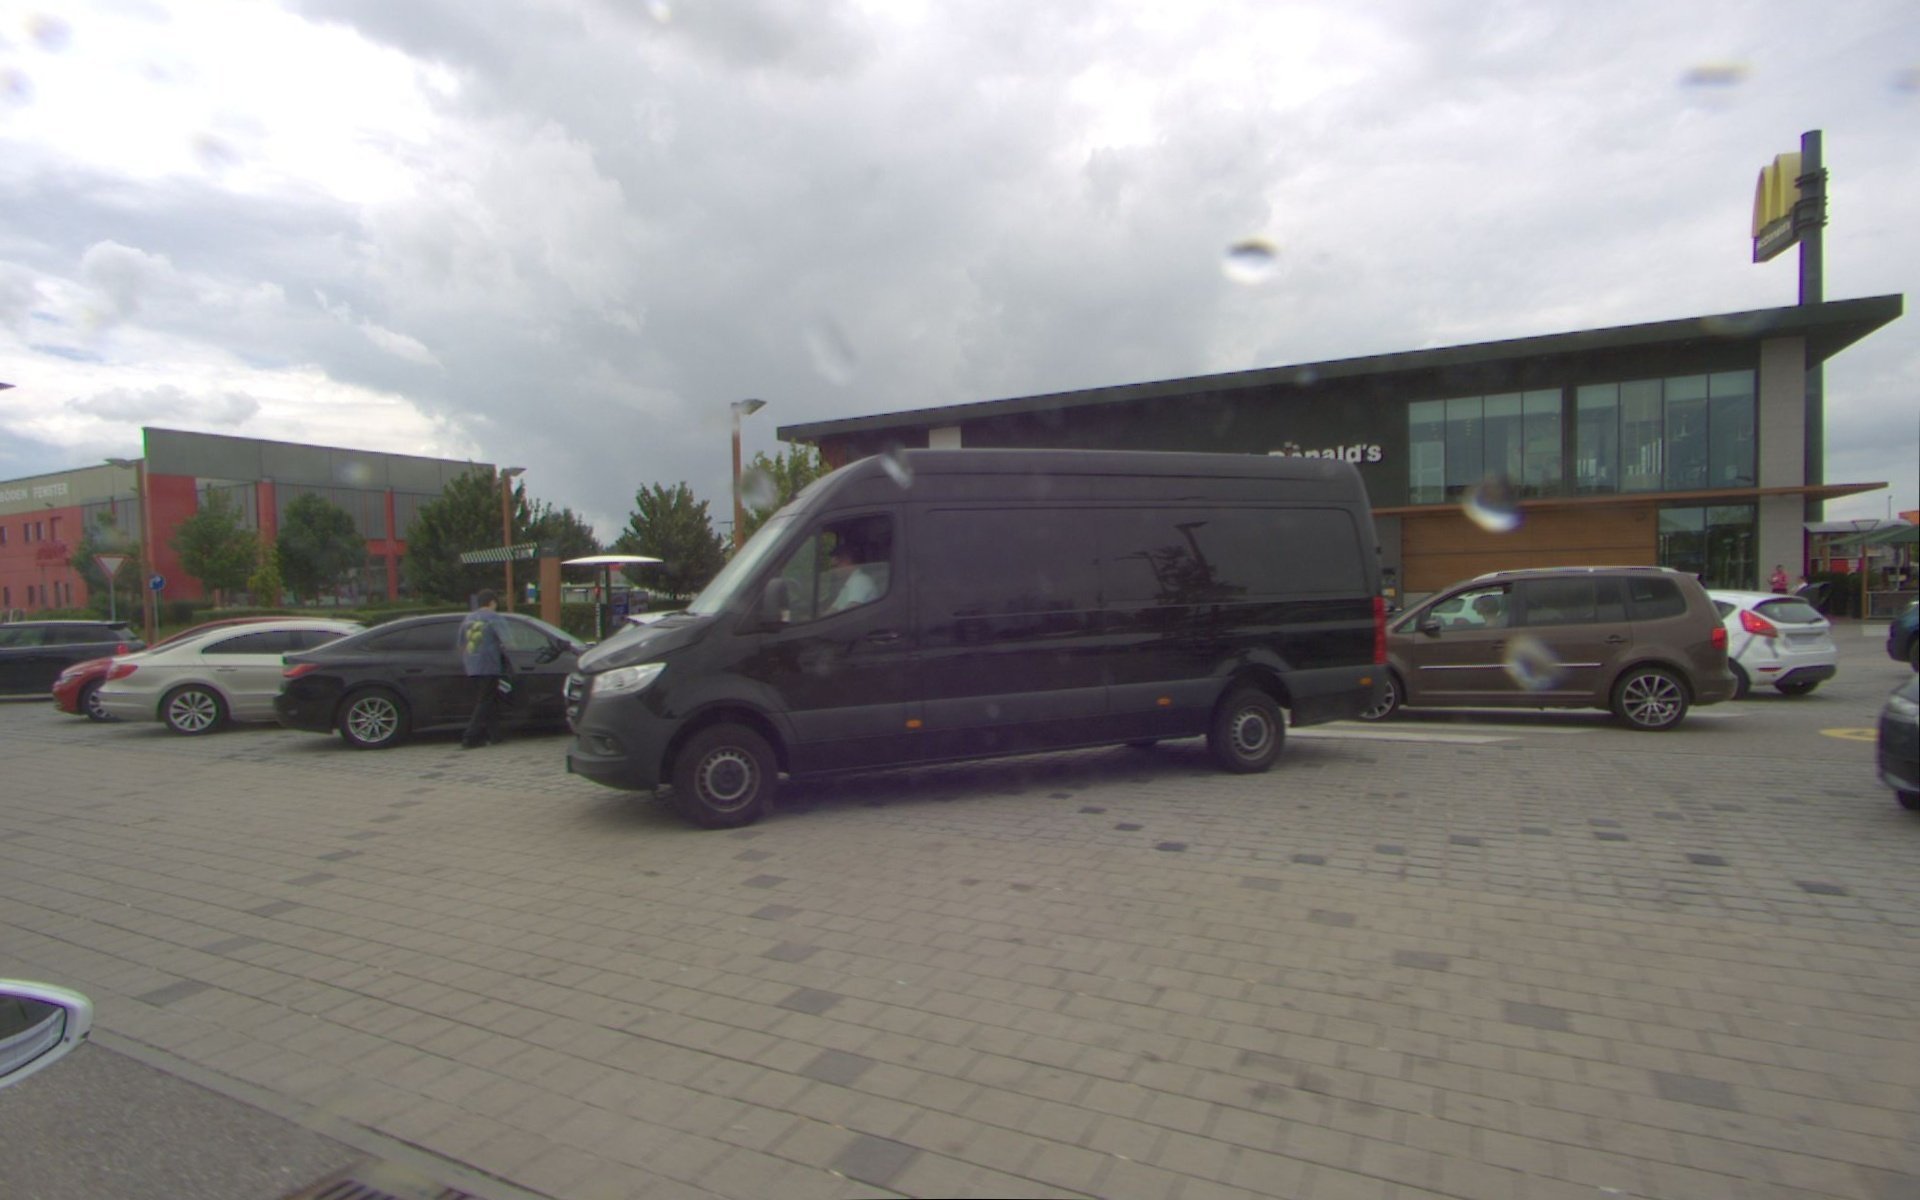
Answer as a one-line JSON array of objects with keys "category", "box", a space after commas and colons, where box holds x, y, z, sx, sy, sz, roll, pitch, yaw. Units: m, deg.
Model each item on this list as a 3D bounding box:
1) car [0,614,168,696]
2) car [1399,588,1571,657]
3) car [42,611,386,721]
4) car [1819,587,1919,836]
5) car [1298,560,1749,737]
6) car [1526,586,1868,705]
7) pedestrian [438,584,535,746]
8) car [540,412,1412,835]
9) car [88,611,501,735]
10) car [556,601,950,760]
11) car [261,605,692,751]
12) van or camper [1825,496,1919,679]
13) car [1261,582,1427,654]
[{"category": "car", "box": [-17.319, 0.993, 18.499, 3.867, 1.431, 1.681, -1, 0, -24]}, {"category": "car", "box": [13.779, 0.538, 26.295, 3.930, 1.507, 1.785, -3, 3, -18]}, {"category": "car", "box": [-11.268, 0.932, 15.480, 3.933, 1.483, 1.682, -1, 0, -22]}, {"category": "car", "box": [7.461, 0.601, 6.212, 3.937, 1.430, 1.825, -1, 0, -26]}, {"category": "car", "box": [6.058, 0.473, 11.307, 4.120, 1.713, 1.805, -1, 2, 23]}, {"category": "car", "box": [10.351, 0.572, 14.384, 1.811, 1.473, 3.564, -1, 0, -20]}, {"category": "pedestrian", "box": [-5.201, 0.697, 11.047, 0.828, 1.699, 0.748, -1, 0, -17]}, {"category": "car", "box": [0.306, 0.128, 8.328, 6.895, 2.587, 2.067, -1, 0, -21]}, {"category": "car", "box": [-8.758, 0.895, 13.684, 4.385, 1.431, 1.748, -1, 0, -22]}, {"category": "car", "box": [-2.245, 0.766, 10.911, 3.933, 1.470, 1.683, -1, 0, -21]}, {"category": "car", "box": [-5.515, 0.826, 11.974, 4.332, 1.482, 1.683, -1, 0, -20]}, {"category": "van or camper", "box": [15.849, -0.225, 13.296, 2.133, 2.736, 6.565, 0, -1, -14]}, {"category": "car", "box": [10.738, 0.440, 28.021, 4.188, 1.685, 1.891, -3, 3, -22]}]
